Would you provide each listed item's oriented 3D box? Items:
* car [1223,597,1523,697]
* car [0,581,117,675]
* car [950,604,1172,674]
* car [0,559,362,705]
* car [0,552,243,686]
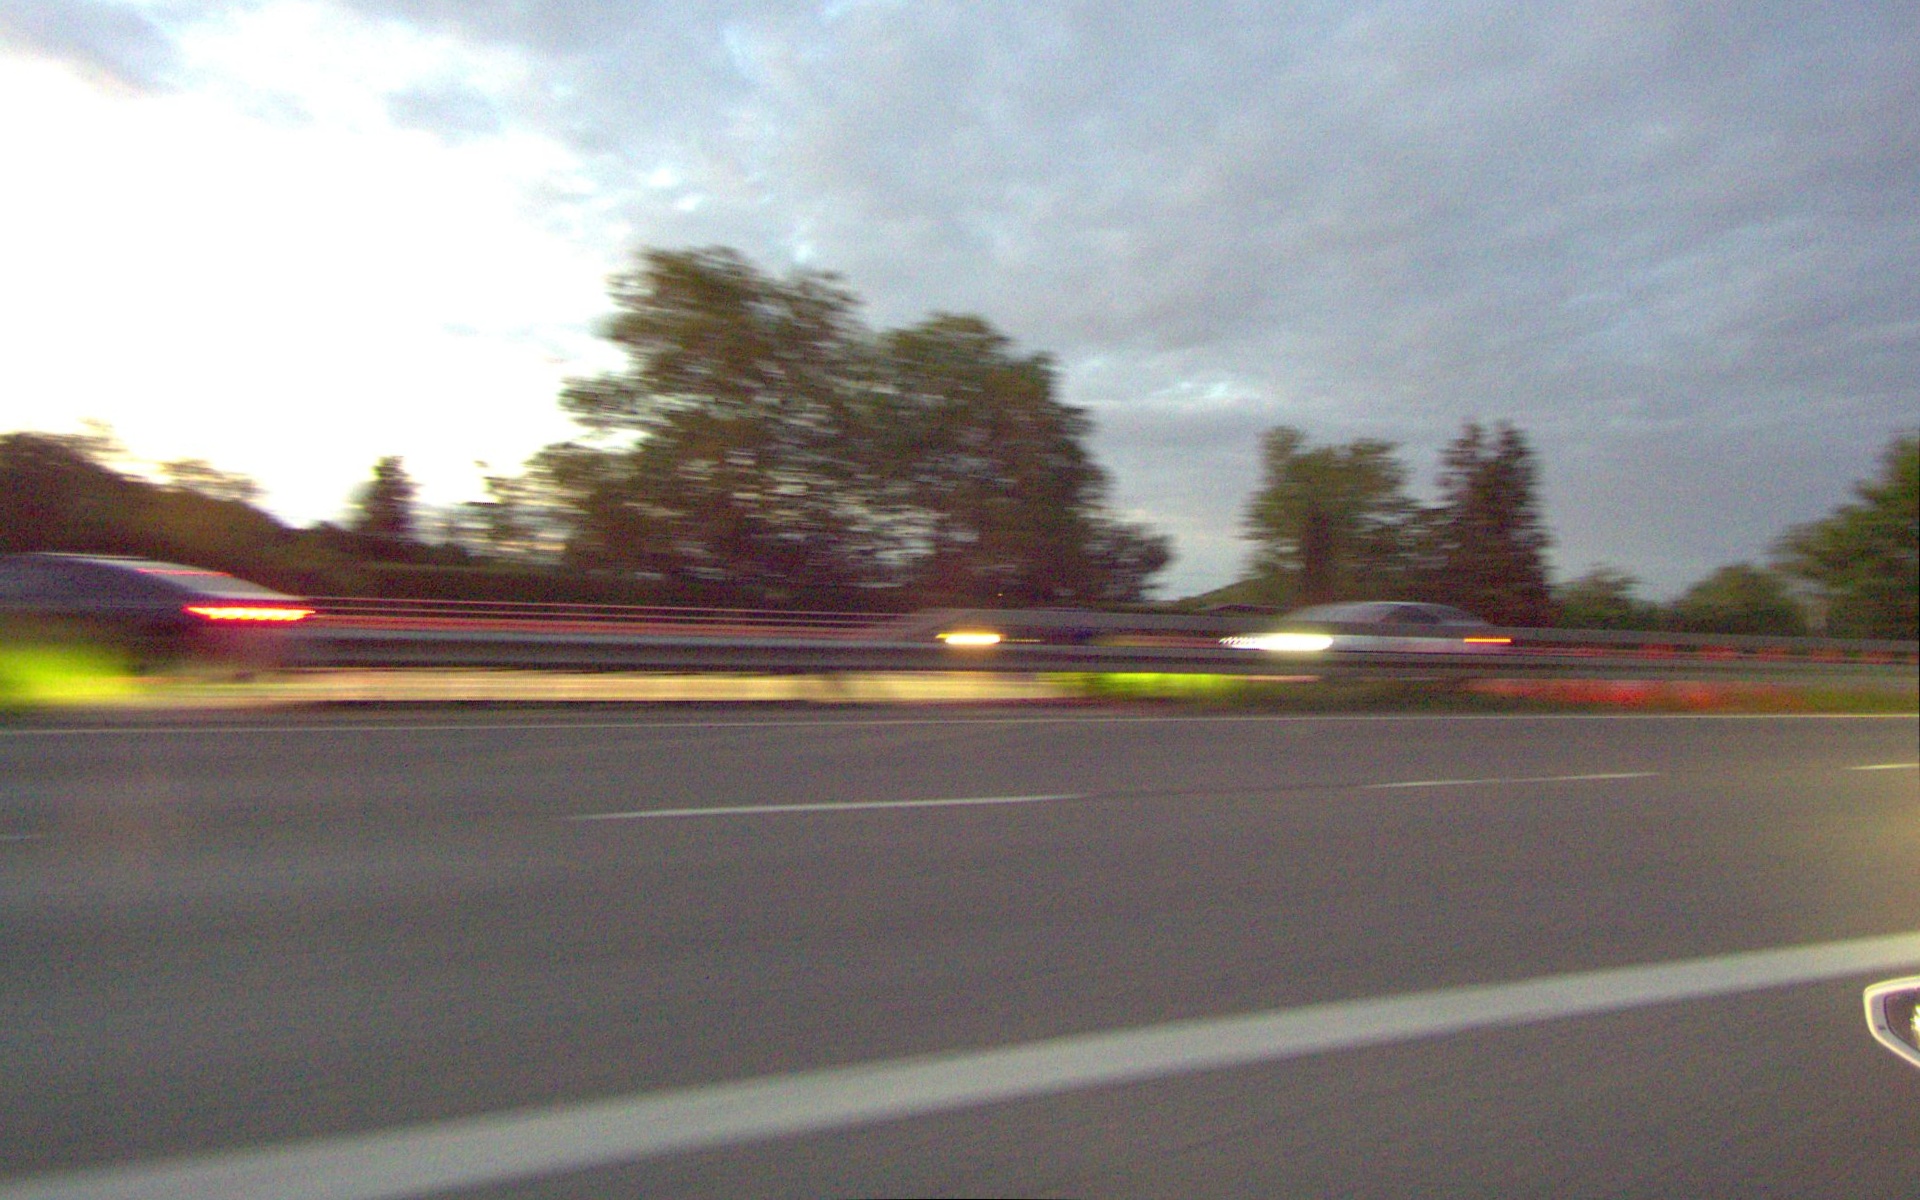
[{"bbox_3d":[7.223,0.843,17.615,4.747,1.590,1.992,2,-2,-19],"label":"car"},{"bbox_3d":[-16.954,0.426,16.230,4.663,1.472,1.991,1,-1,-21],"label":"car"},{"bbox_3d":[2.306,0.902,23.100,4.662,1.472,1.991,2,-1,-20],"label":"car"},{"bbox_3d":[-9.798,0.355,11.230,4.969,1.472,1.992,2,-2,-19],"label":"car"},{"bbox_3d":[-13.045,0.227,13.776,4.802,1.704,1.990,3,-2,-22],"label":"car"}]
